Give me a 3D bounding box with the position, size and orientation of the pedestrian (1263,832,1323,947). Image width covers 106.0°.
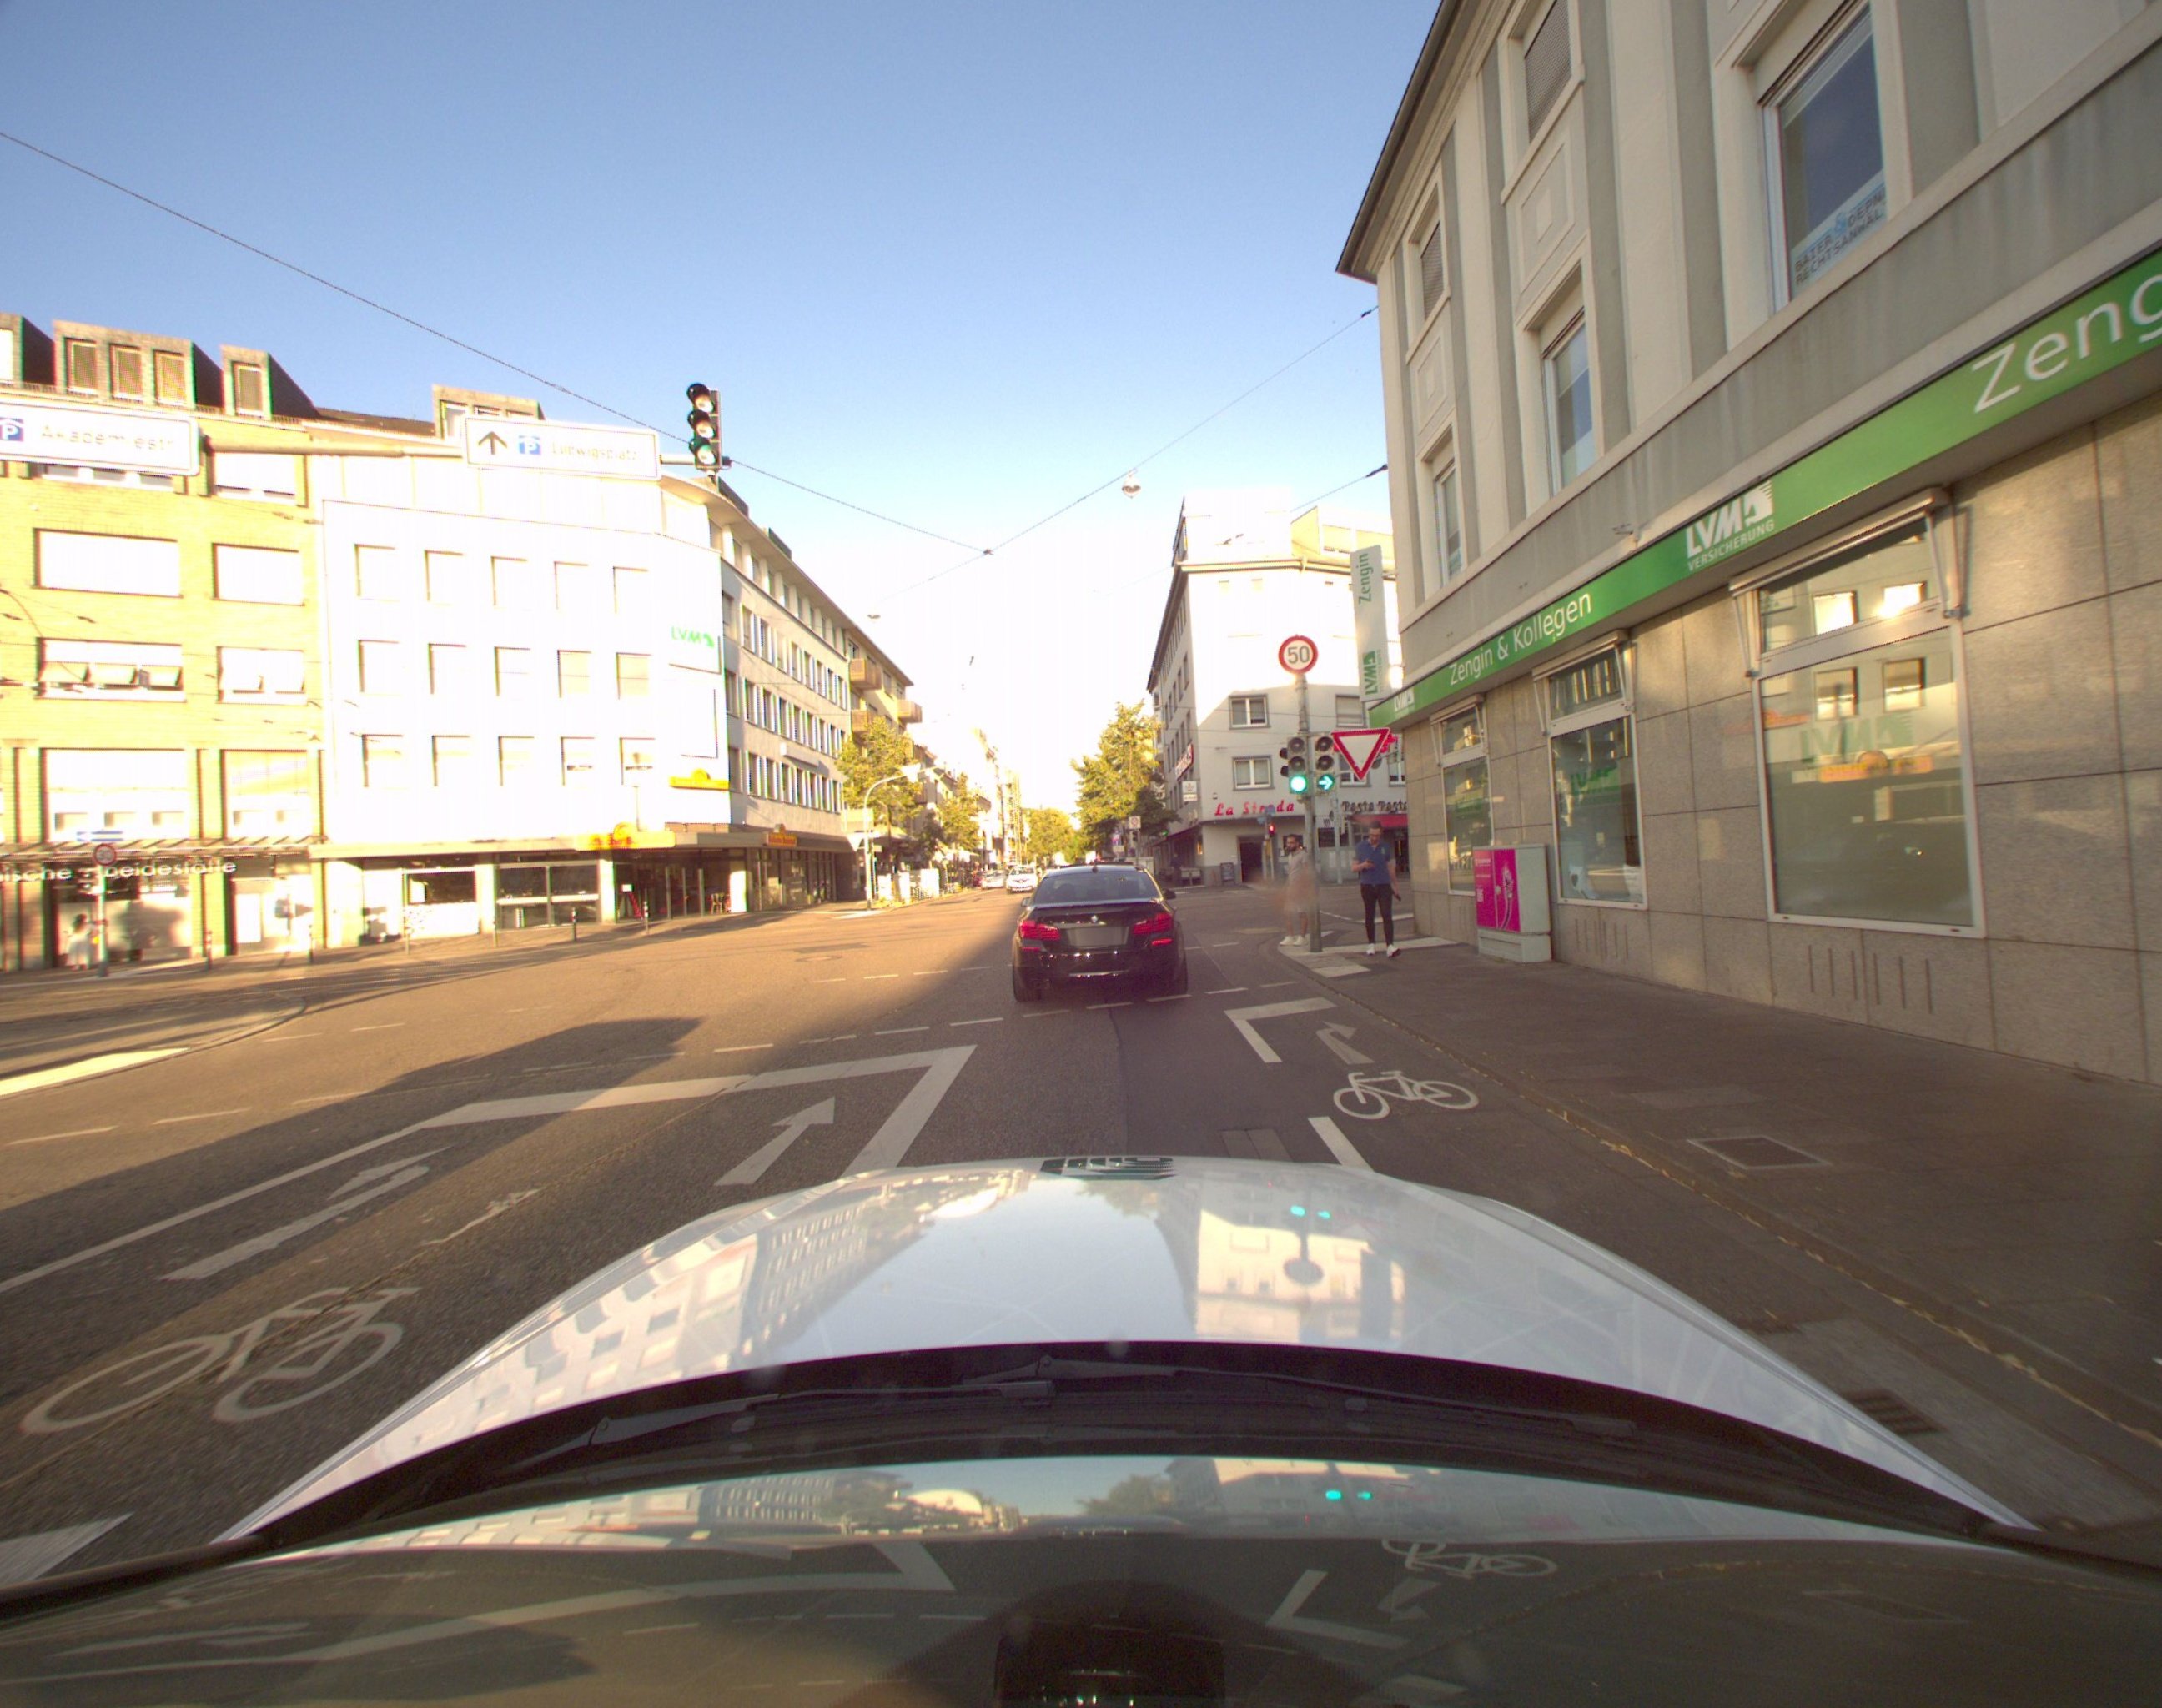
[{"bbox_3d":[3.355,0.548,12.915,0.650,1.742,0.693,-3,-1,-3],"label":"pedestrian"}]

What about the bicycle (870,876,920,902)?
[{"bbox_3d":[-9.560,1.812,41.906,2.362,1.253,0.639,-1,-1,-4],"label":"bicycle"}]

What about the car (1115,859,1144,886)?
[{"bbox_3d":[2.911,1.095,48.837,1.633,1.444,3.610,-3,-1,3],"label":"car"}]

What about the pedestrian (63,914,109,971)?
[{"bbox_3d":[-27.587,2.437,22.595,0.628,1.471,0.537,-4,3,-39],"label":"pedestrian"}]

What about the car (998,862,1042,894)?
[{"bbox_3d":[-3.365,1.342,45.771,2.102,1.556,4.011,-4,-1,-1],"label":"car"}]

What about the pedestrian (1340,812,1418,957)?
[{"bbox_3d":[3.983,0.403,10.943,0.687,1.827,0.882,-4,-1,7],"label":"pedestrian"}]

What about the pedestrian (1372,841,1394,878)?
[{"bbox_3d":[14.781,0.269,39.861,0.672,1.744,0.631,-2,-1,-37],"label":"pedestrian"}]

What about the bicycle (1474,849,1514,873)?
[{"bbox_3d":[21.011,0.341,41.454,0.553,1.211,1.883,-2,1,-22],"label":"bicycle"}]

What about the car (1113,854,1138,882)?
[{"bbox_3d":[3.055,0.907,55.519,1.633,1.873,3.610,0,0,3],"label":"car"}]

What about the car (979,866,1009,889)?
[{"bbox_3d":[-6.504,1.748,61.224,1.829,1.556,3.778,-3,-1,-1],"label":"car"}]

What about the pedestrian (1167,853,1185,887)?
[{"bbox_3d":[4.728,0.789,40.501,0.710,1.676,0.703,-2,-1,-2],"label":"pedestrian"}]

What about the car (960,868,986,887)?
[{"bbox_3d":[-9.753,2.098,73.702,1.829,1.556,3.778,-4,-1,-1],"label":"car"}]

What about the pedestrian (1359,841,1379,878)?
[{"bbox_3d":[14.327,0.265,40.498,0.603,1.779,0.632,-2,-1,-33],"label":"pedestrian"}]

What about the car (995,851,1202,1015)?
[{"bbox_3d":[0.253,0.791,10.127,1.946,1.498,4.467,-3,-1,2],"label":"car"}]
